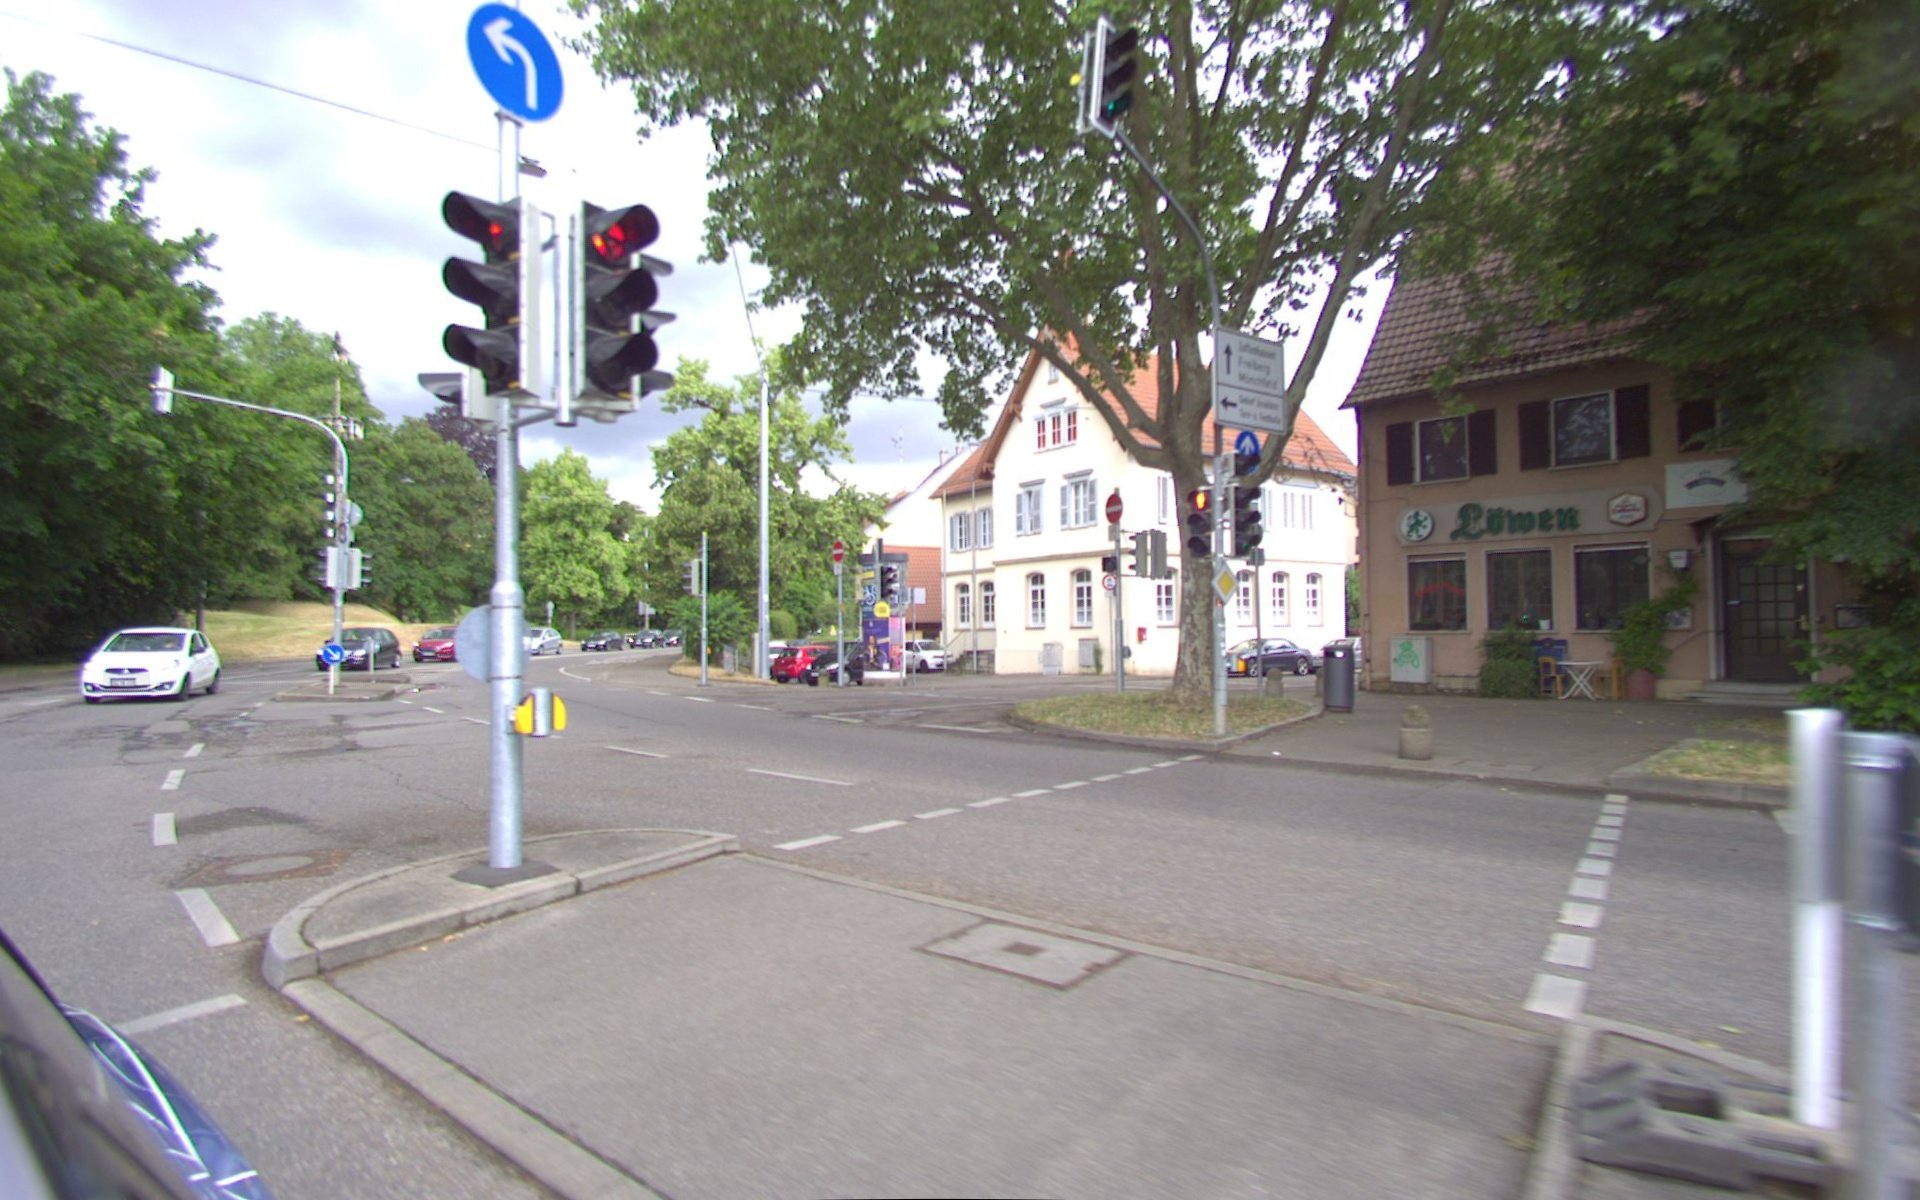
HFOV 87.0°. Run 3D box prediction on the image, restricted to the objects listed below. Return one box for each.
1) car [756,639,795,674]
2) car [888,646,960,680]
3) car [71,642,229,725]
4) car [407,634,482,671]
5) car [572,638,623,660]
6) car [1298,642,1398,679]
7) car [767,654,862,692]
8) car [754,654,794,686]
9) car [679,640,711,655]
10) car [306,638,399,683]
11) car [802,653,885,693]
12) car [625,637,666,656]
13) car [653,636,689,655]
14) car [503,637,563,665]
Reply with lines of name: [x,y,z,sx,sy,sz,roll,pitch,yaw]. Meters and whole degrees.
car: [-9.341,2.821,51.316,1.870,1.640,4.008,0,-2,-10]
car: [-1.727,2.937,47.596,1.627,1.503,3.488,1,-2,-38]
car: [-16.773,1.648,21.166,1.601,1.520,4.013,0,-2,-24]
car: [-24.140,2.412,47.554,1.651,1.654,4.104,0,-2,-4]
car: [-24.797,3.336,69.309,1.831,1.469,3.995,0,-2,4]
car: [14.705,2.258,38.332,3.800,1.325,1.716,1,-2,-35]
car: [-5.841,2.906,40.882,1.600,1.364,3.578,-2,-2,43]
car: [-10.366,3.837,56.105,1.904,1.620,3.672,0,-2,-15]
car: [-23.521,4.179,89.941,1.624,1.279,3.621,0,-2,4]
car: [-22.594,2.221,37.822,1.703,1.532,4.009,0,-2,-11]
car: [-4.044,2.547,35.539,1.474,1.320,3.374,-1,-4,22]
car: [-24.061,3.541,77.578,1.676,1.422,3.977,0,-2,4]
car: [-23.979,3.764,84.021,1.686,1.457,3.863,0,-2,3]
car: [-24.801,2.926,58.870,1.760,1.581,3.998,0,-2,1]
